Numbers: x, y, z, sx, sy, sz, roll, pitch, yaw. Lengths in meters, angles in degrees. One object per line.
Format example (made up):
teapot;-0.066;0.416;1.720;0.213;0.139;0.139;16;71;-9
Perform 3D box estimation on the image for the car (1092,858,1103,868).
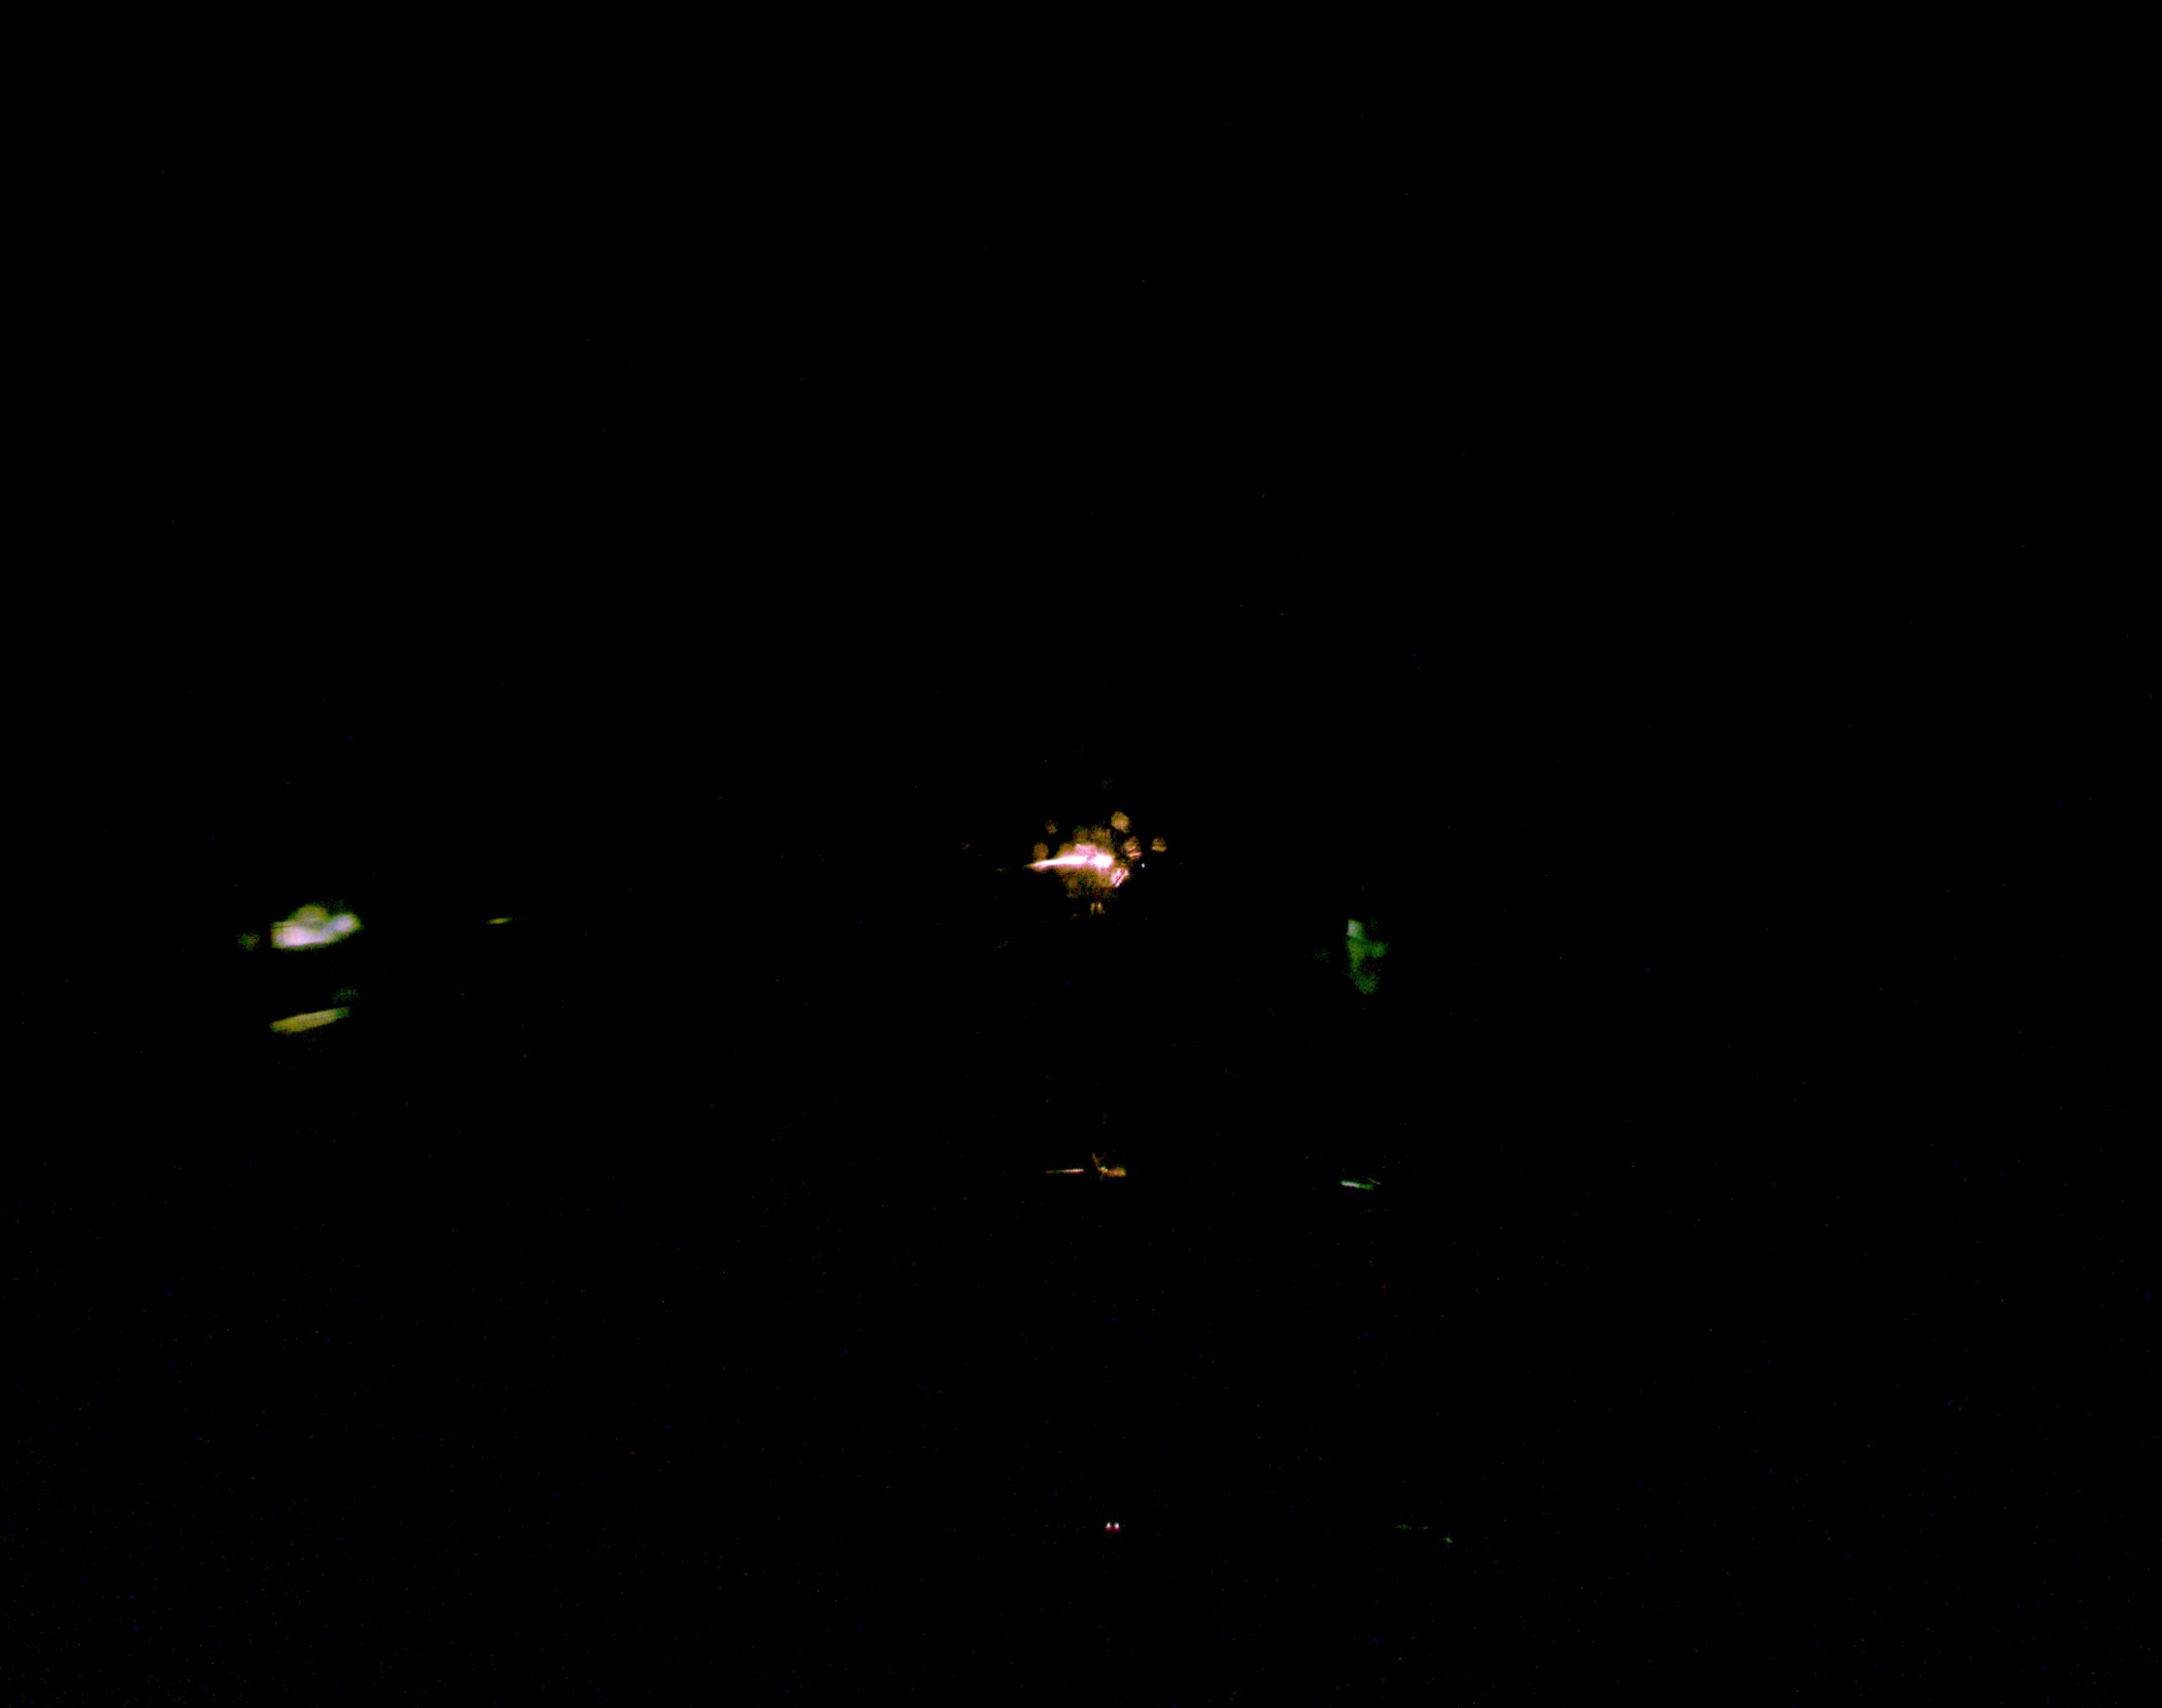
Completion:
car;3.264;1.777;157.961;1.986;1.825;4.565;1;0;2
